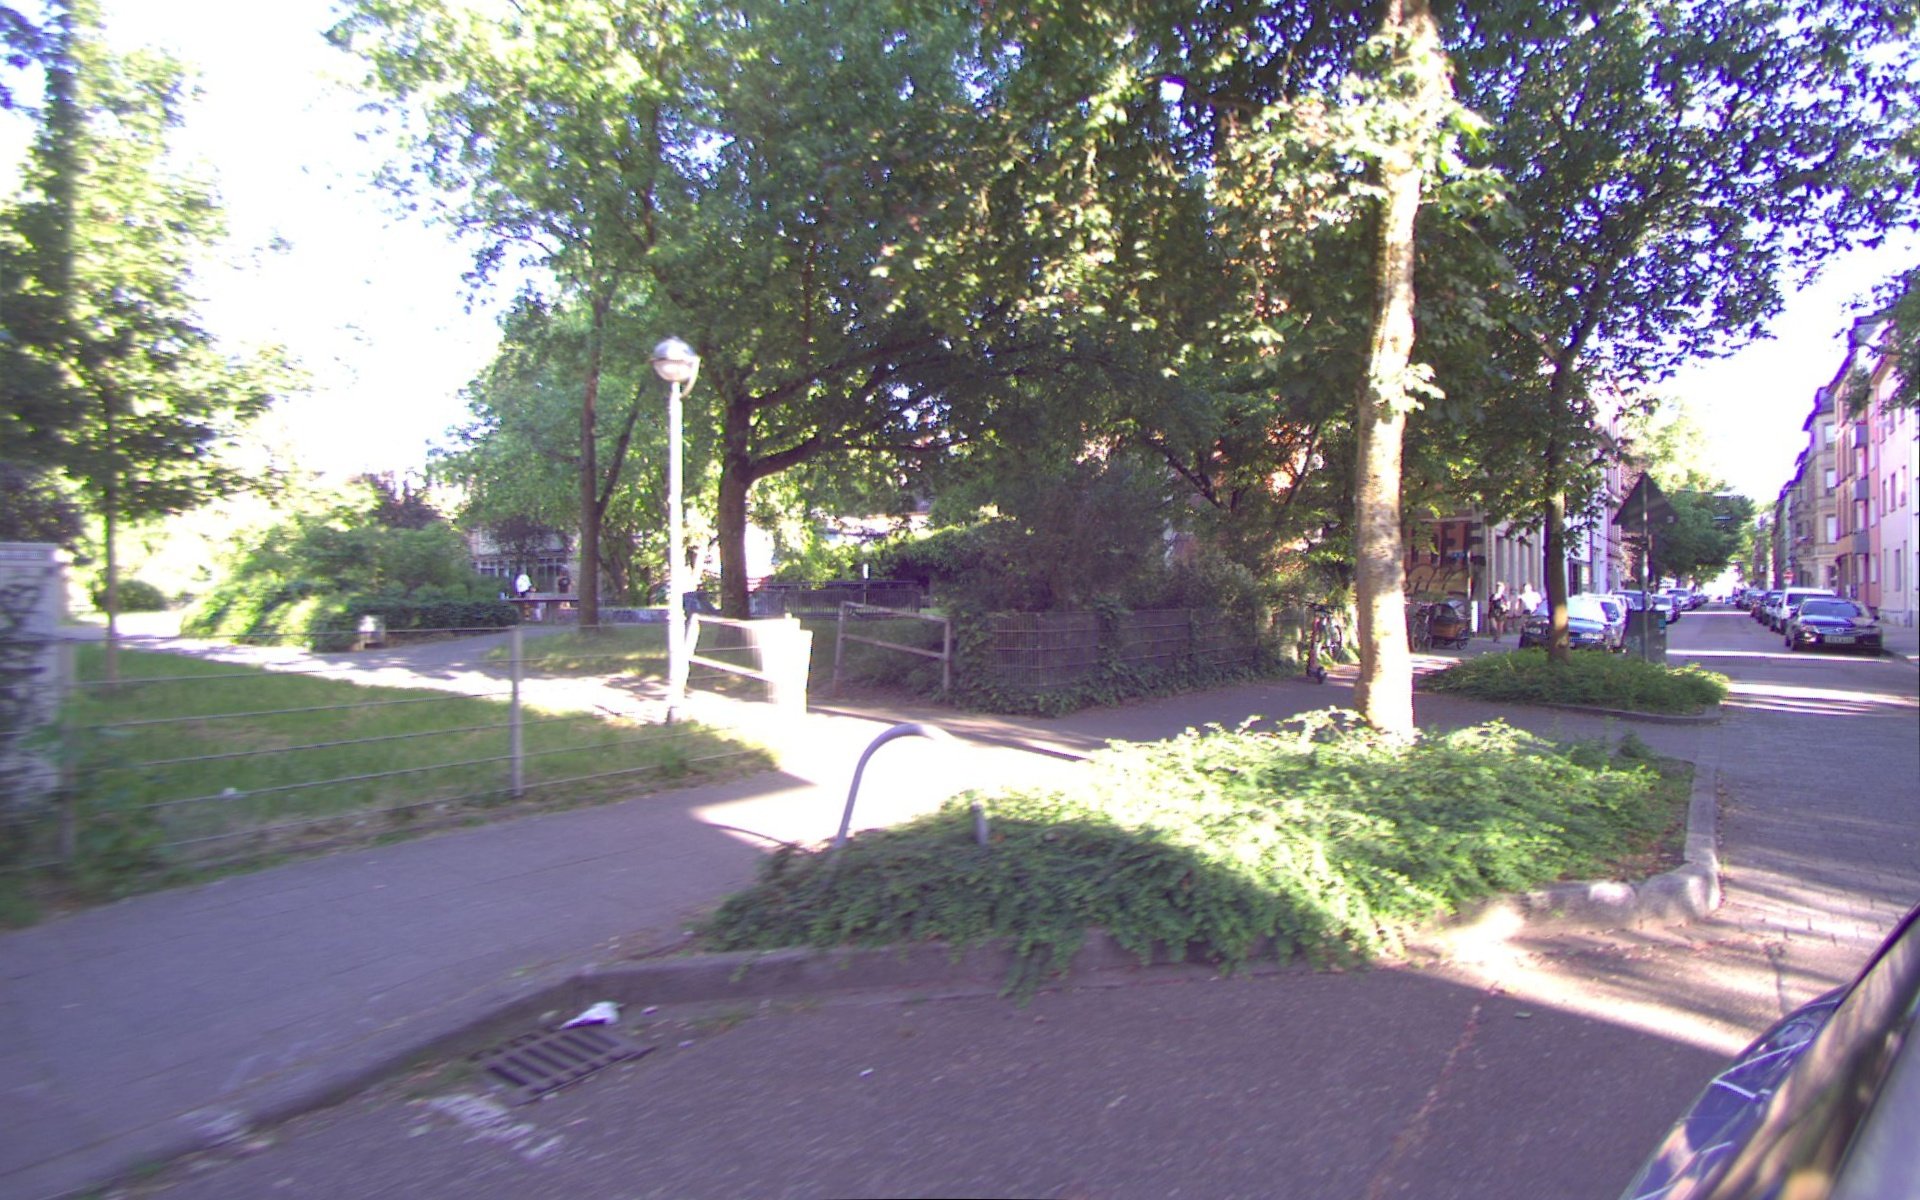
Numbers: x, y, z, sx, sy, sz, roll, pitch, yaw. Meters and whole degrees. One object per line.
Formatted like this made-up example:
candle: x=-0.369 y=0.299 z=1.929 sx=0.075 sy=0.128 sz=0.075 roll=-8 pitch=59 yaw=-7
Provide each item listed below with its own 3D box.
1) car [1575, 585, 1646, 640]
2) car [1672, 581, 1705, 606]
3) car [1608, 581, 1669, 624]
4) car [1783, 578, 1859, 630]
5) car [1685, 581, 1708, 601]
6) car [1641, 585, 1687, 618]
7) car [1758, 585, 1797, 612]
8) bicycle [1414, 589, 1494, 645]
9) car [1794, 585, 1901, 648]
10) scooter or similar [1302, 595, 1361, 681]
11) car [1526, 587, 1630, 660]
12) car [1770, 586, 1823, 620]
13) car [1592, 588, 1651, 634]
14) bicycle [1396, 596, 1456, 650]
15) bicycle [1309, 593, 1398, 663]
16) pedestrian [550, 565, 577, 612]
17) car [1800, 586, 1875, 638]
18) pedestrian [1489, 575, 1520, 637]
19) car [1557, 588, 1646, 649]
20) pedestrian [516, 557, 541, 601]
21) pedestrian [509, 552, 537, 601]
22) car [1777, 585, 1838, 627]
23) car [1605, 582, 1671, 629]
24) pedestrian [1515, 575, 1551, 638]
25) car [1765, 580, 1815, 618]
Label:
car: x=20.628 y=0.342 z=32.029 sx=1.590 sy=1.605 sz=3.713 roll=1 pitch=1 yaw=37
car: x=61.634 y=-0.579 z=85.611 sx=1.860 sy=2.005 sz=4.414 roll=3 pitch=3 yaw=41
car: x=29.090 y=0.069 z=43.332 sx=1.877 sy=1.687 sz=4.270 roll=3 pitch=3 yaw=37
car: x=31.846 y=0.107 z=37.543 sx=1.745 sy=1.762 sz=4.259 roll=3 pitch=3 yaw=36
car: x=76.747 y=-0.967 z=105.418 sx=1.761 sy=2.042 sz=4.206 roll=3 pitch=3 yaw=37
car: x=36.858 y=0.042 z=52.955 sx=1.761 sy=1.536 sz=4.048 roll=3 pitch=3 yaw=37
car: x=52.366 y=-0.123 z=64.841 sx=1.761 sy=1.552 sz=4.048 roll=3 pitch=3 yaw=37
bicycle: x=12.750 y=0.409 z=26.089 sx=1.289 sy=1.318 sz=2.293 roll=2 pitch=2 yaw=40
car: x=23.657 y=0.361 z=27.109 sx=1.775 sy=1.461 sz=4.333 roll=3 pitch=3 yaw=37
scooter or similar: x=5.899 y=0.574 z=16.144 sx=0.537 sy=1.277 sz=1.470 roll=1 pitch=1 yaw=7
car: x=14.639 y=0.479 z=23.864 sx=1.716 sy=1.512 sz=4.356 roll=1 pitch=1 yaw=36
car: x=40.146 y=0.122 z=48.643 sx=1.761 sy=1.490 sz=3.765 roll=3 pitch=3 yaw=37
car: x=23.215 y=0.328 z=35.465 sx=1.589 sy=1.469 sz=3.952 roll=2 pitch=1 yaw=35
bicycle: x=11.095 y=0.524 z=24.074 sx=0.845 sy=1.216 sz=1.953 roll=0 pitch=0 yaw=39
bicycle: x=7.741 y=0.509 z=19.817 sx=0.845 sy=1.284 sz=2.653 roll=0 pitch=0 yaw=39
pedestrian: x=-17.259 y=-0.504 z=44.073 sx=0.893 sy=2.039 sz=0.750 roll=0 pitch=0 yaw=-5
car: x=27.398 y=0.322 z=31.675 sx=1.591 sy=1.468 sz=3.436 roll=3 pitch=3 yaw=39
pedestrian: x=15.588 y=0.159 z=28.969 sx=0.596 sy=1.730 sz=0.697 roll=4 pitch=2 yaw=37
car: x=17.628 y=0.442 z=27.724 sx=1.656 sy=1.512 sz=4.294 roll=2 pitch=2 yaw=38
pedestrian: x=-20.044 y=-0.977 z=47.010 sx=0.893 sy=2.039 sz=0.750 roll=0 pitch=0 yaw=-5
pedestrian: x=-18.278 y=-0.969 z=42.317 sx=0.893 sy=2.039 sz=0.750 roll=0 pitch=0 yaw=-5
car: x=34.743 y=0.202 z=41.458 sx=1.671 sy=1.546 sz=4.021 roll=4 pitch=3 yaw=43
car: x=26.227 y=0.174 z=39.101 sx=1.763 sy=1.687 sz=4.267 roll=1 pitch=1 yaw=39
pedestrian: x=16.206 y=0.171 z=28.625 sx=0.709 sy=1.730 sz=0.742 roll=4 pitch=2 yaw=37
car: x=43.309 y=-0.103 z=52.870 sx=1.761 sy=1.847 sz=4.048 roll=3 pitch=3 yaw=37
